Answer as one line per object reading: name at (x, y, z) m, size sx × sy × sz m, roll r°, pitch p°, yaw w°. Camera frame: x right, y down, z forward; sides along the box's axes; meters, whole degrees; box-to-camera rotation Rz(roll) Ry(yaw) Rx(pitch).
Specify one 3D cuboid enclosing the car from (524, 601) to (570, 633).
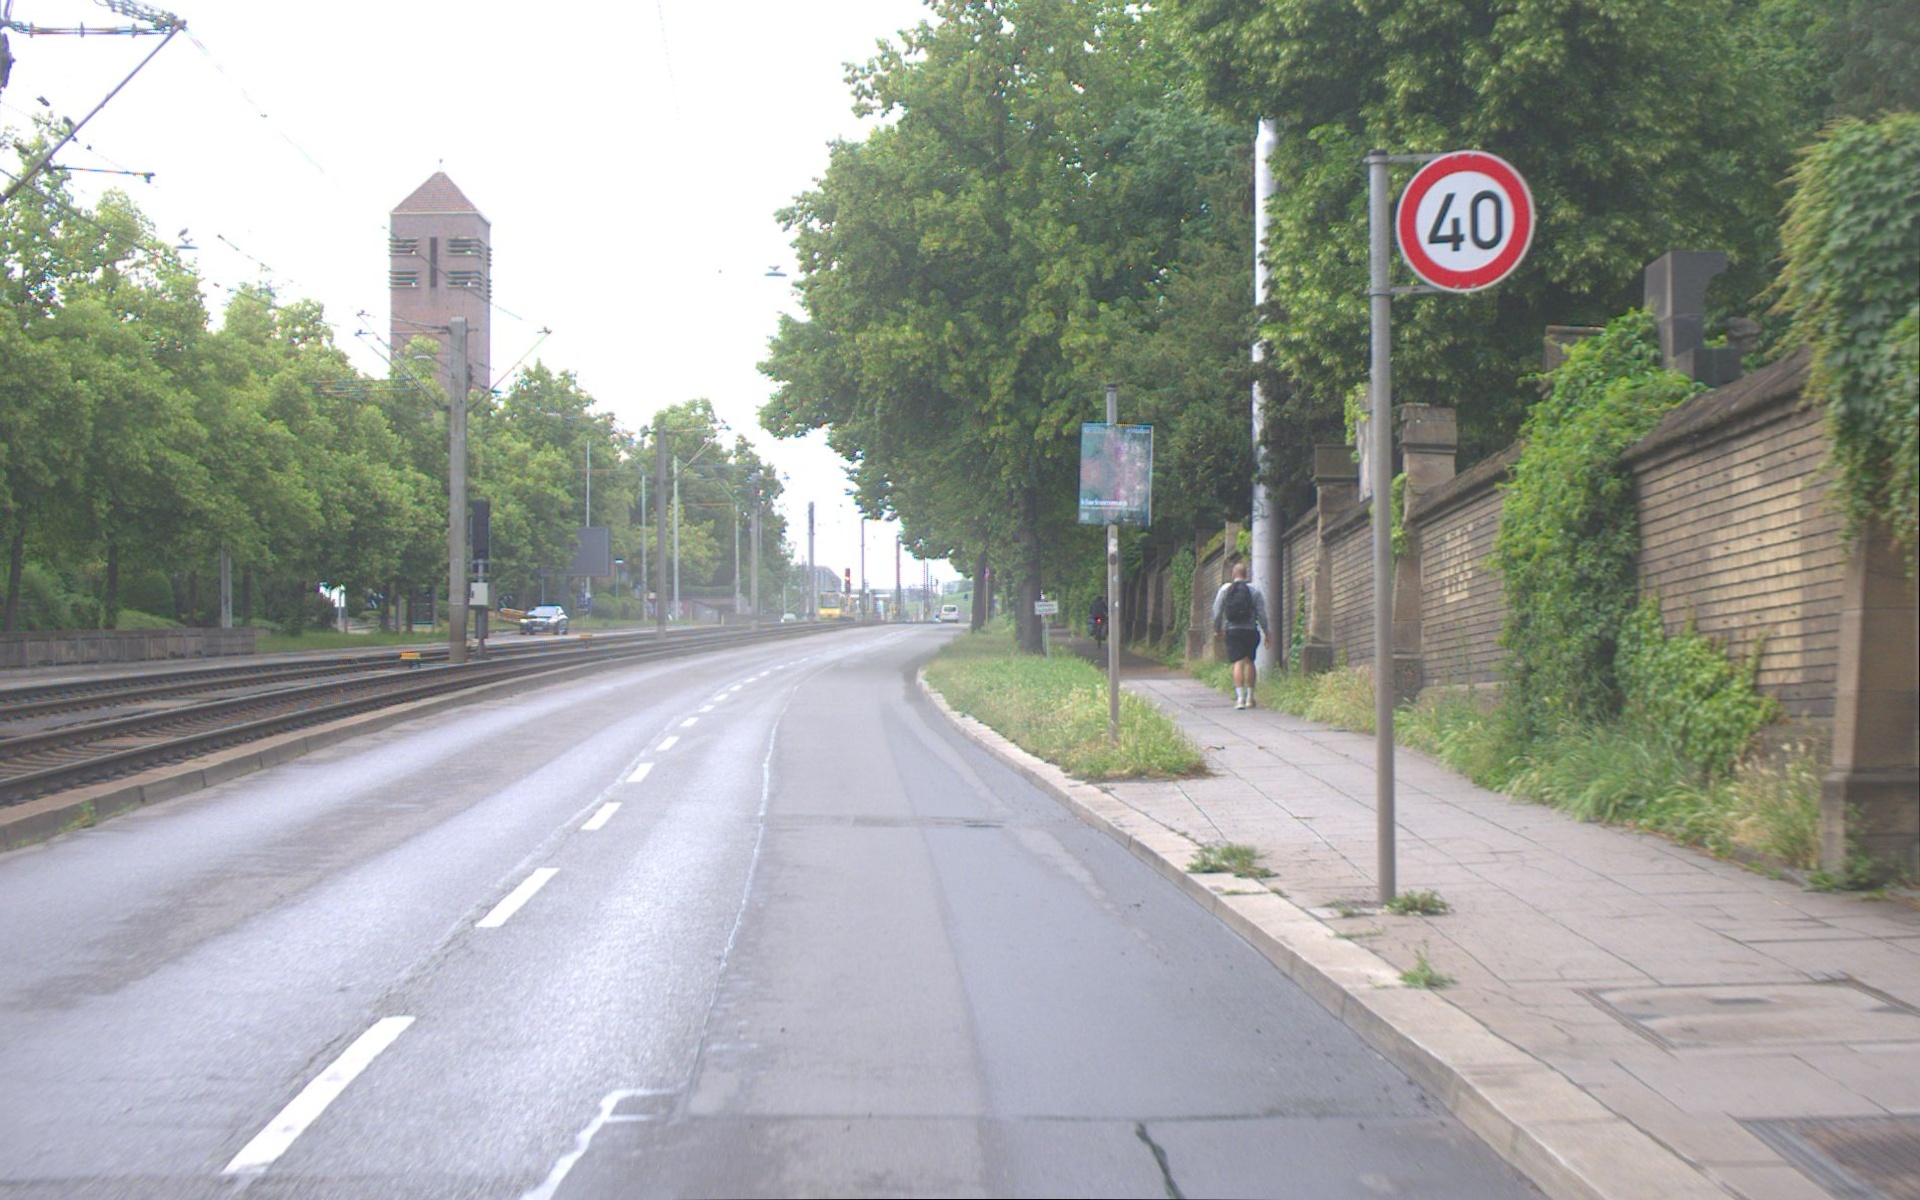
car at (-20.663, 0.840, 172.098) m, size 1.794 × 1.505 × 3.849 m, roll -1°, pitch 1°, yaw 0°

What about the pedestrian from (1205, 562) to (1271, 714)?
pedestrian at (3.403, 0.461, 42.154) m, size 0.720 × 1.843 × 0.783 m, roll 1°, pitch 0°, yaw 0°

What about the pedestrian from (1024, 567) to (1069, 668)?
pedestrian at (1.444, 0.295, 57.688) m, size 0.720 × 1.681 × 0.729 m, roll 1°, pitch 0°, yaw 0°
